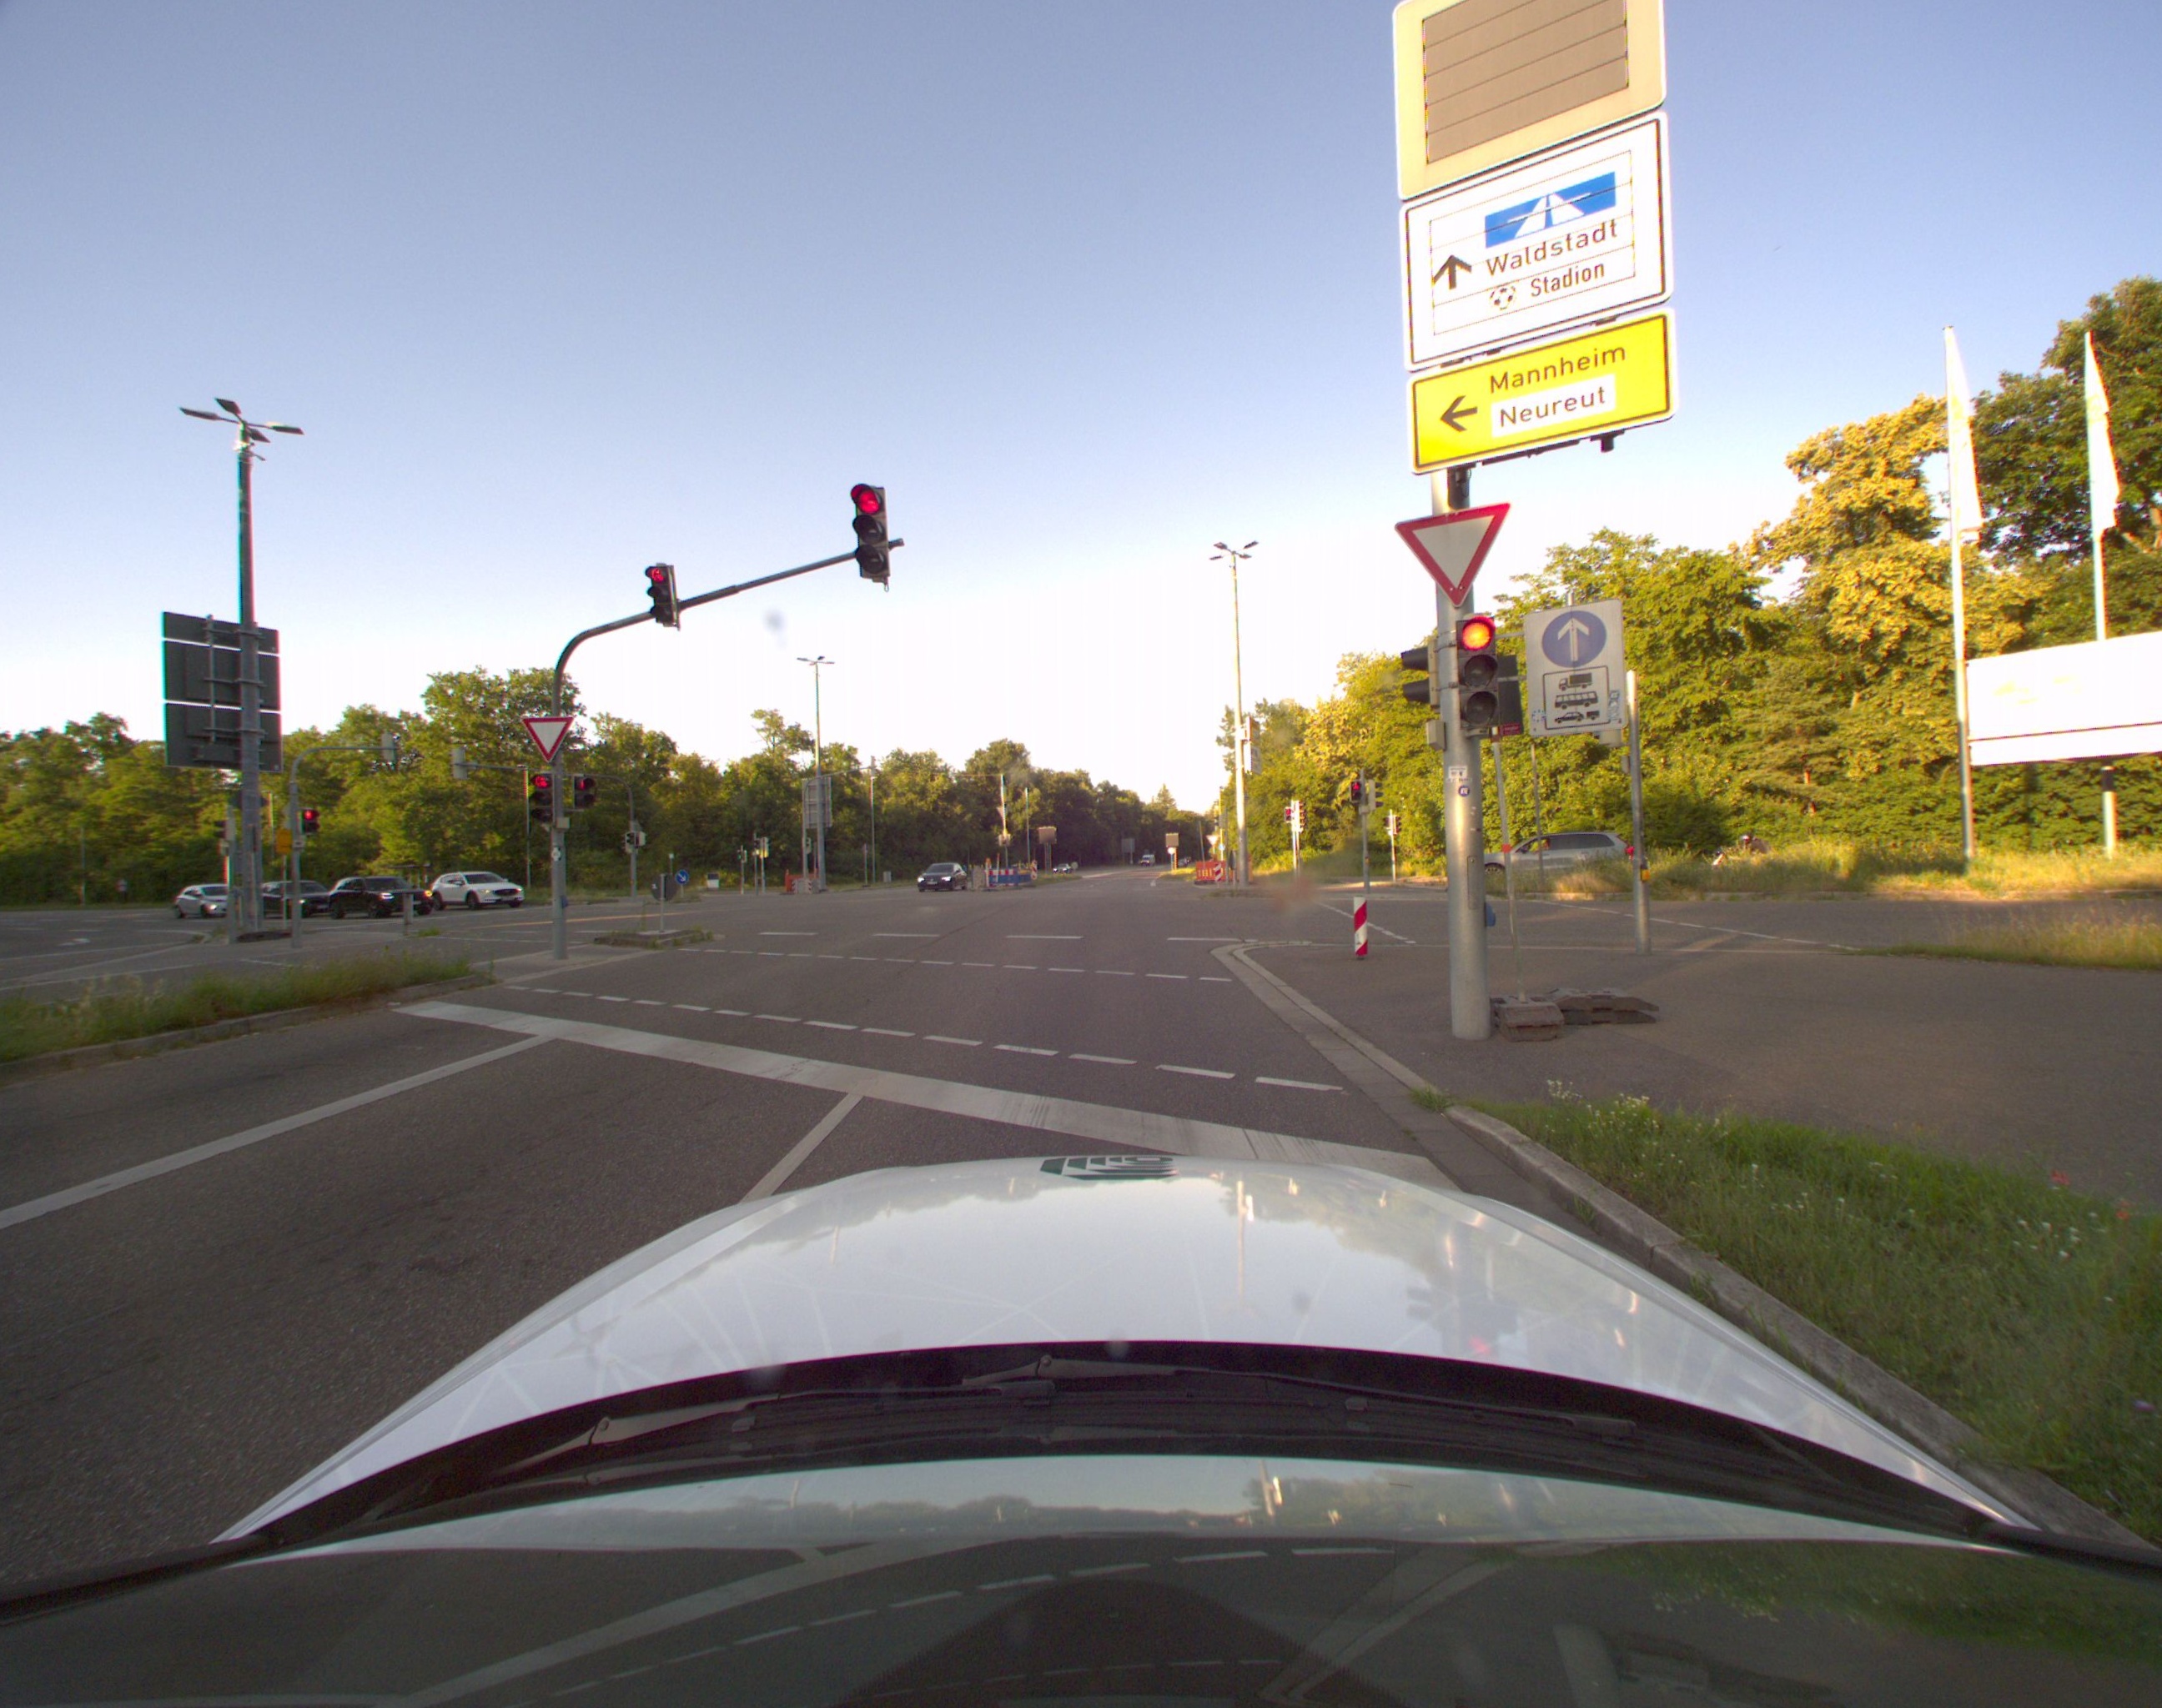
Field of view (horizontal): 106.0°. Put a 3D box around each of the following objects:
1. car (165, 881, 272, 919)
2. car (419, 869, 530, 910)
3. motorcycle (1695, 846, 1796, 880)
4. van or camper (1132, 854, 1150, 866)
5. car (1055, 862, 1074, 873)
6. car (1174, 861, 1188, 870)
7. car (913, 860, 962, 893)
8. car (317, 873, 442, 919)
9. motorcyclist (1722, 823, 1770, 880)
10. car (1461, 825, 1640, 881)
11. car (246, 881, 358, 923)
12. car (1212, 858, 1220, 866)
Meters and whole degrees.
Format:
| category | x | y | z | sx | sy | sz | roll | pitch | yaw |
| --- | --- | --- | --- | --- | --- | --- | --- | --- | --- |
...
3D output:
| category | x | y | z | sx | sy | sz | roll | pitch | yaw |
| --- | --- | --- | --- | --- | --- | --- | --- | --- | --- |
| car | -41.135 | 2.199 | 38.857 | 4.207 | 1.640 | 2.011 | -2 | 0 | 21 |
| car | -26.738 | 1.574 | 35.907 | 4.206 | 1.640 | 2.011 | -2 | 0 | 23 |
| motorcycle | 19.126 | 0.271 | 23.488 | 2.125 | 0.910 | 0.666 | -2 | 0 | 23 |
| van or camper | 14.328 | 1.421 | 194.427 | 2.863 | 2.652 | 7.153 | -2 | 0 | 17 |
| car | -2.318 | 1.889 | 115.219 | 1.981 | 1.420 | 4.011 | -2 | 0 | 10 |
| car | 19.454 | 2.246 | 158.066 | 1.978 | 1.618 | 4.017 | -2 | 0 | 15 |
| car | -7.327 | 1.118 | 41.951 | 1.990 | 1.530 | 4.670 | -2 | 0 | -5 |
| car | -27.534 | 1.637 | 31.968 | 4.206 | 1.640 | 2.011 | -2 | 0 | 23 |
| motorcyclist | 19.152 | -0.070 | 23.470 | 0.878 | 1.595 | 0.658 | -2 | 0 | 23 |
| car | 15.045 | -0.015 | 26.452 | 4.773 | 1.598 | 2.011 | -2 | 0 | 23 |
| car | -33.903 | 2.085 | 35.448 | 4.205 | 1.640 | 2.011 | -2 | 0 | 23 |
| car | 35.868 | 2.141 | 216.230 | 1.774 | 2.013 | 4.017 | -2 | 0 | 16 |
